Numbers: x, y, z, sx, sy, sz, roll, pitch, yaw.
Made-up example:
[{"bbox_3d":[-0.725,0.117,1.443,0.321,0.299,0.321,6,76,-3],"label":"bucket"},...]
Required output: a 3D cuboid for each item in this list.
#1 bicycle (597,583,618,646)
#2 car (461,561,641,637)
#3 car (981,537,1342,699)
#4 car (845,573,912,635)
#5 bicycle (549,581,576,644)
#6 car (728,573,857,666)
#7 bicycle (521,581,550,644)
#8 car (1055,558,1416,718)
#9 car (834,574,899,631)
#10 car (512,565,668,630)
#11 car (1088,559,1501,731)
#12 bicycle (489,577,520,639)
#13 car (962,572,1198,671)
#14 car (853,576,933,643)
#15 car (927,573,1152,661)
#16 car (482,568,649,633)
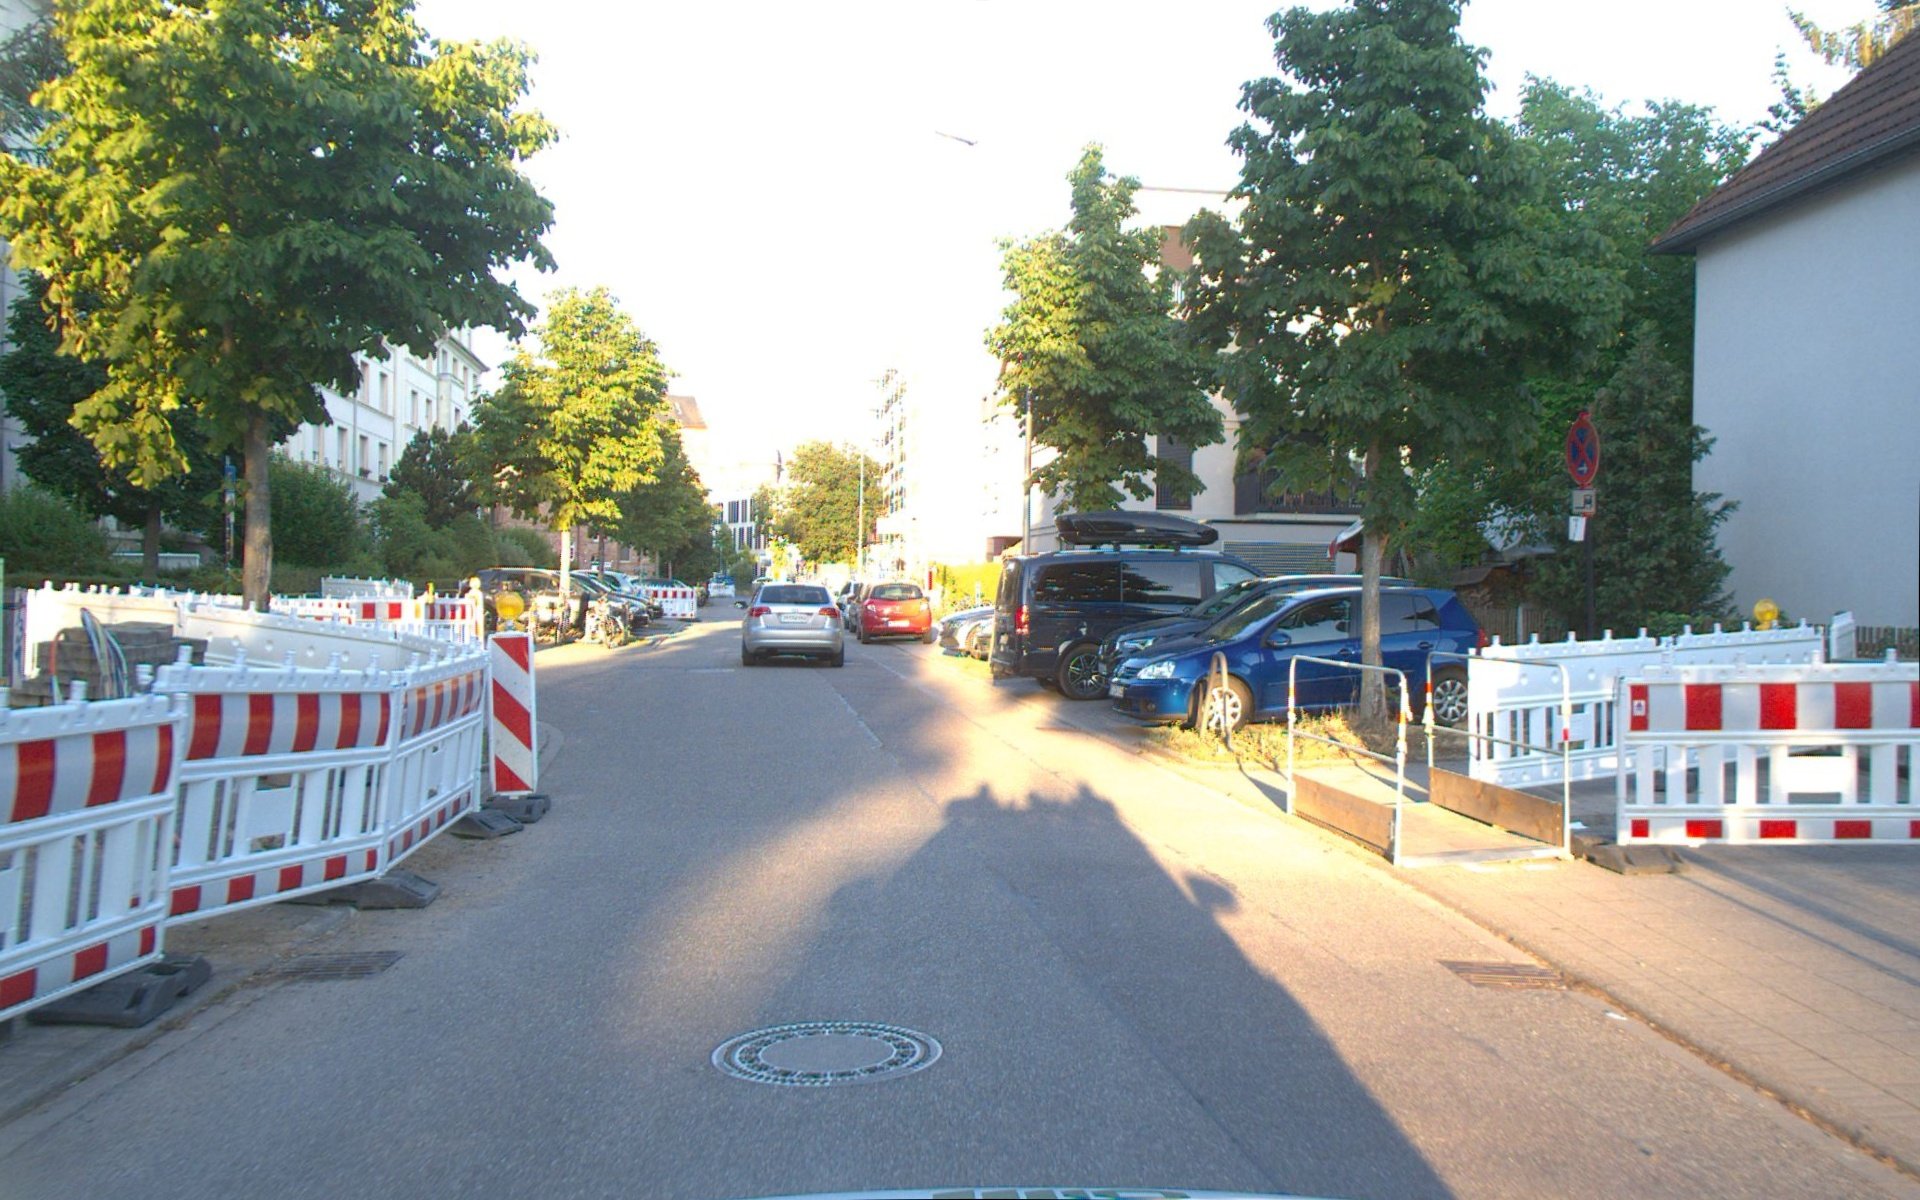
[{"bbox_3d":[-7.391,0.291,34.643,0.399,1.248,1.981,1,1,-12],"label":"bicycle"},{"bbox_3d":[-9.586,-0.029,39.049,3.914,1.653,1.996,1,1,-10],"label":"car"},{"bbox_3d":[2.681,0.236,22.598,4.474,2.058,2.096,1,1,-10],"label":"car"},{"bbox_3d":[-2.273,0.076,45.672,1.632,1.600,3.436,1,1,-6],"label":"car"},{"bbox_3d":[-8.303,0.243,34.582,0.398,1.248,1.983,1,1,-10],"label":"bicycle"},{"bbox_3d":[-3.008,0.302,29.057,1.776,1.514,3.987,1,1,-13],"label":"car"},{"bbox_3d":[-8.848,0.240,34.518,0.398,1.248,1.983,1,1,-10],"label":"bicycle"},{"bbox_3d":[3.301,0.446,20.260,3.914,1.799,1.996,1,1,-10],"label":"car"},{"bbox_3d":[-2.878,0.056,50.423,1.774,1.641,3.576,1,1,-6],"label":"car"},{"bbox_3d":[-9.851,-0.072,44.274,3.914,1.633,1.869,1,1,-10],"label":"car"},{"bbox_3d":[3.493,0.463,17.547,3.917,1.680,1.759,1,1,-13],"label":"car"},{"bbox_3d":[-9.478,0.152,34.469,0.398,1.248,1.983,1,1,-10],"label":"bicycle"},{"bbox_3d":[2.143,0.374,30.039,3.870,1.677,1.970,1,1,-13],"label":"car"},{"bbox_3d":[-1.664,0.192,40.143,1.697,1.509,3.553,1,1,-6],"label":"car"},{"bbox_3d":[1.525,0.316,32.431,4.077,1.599,1.792,1,1,-13],"label":"car"},{"bbox_3d":[-9.848,0.004,41.550,3.914,1.506,1.996,1,1,-10],"label":"car"}]
